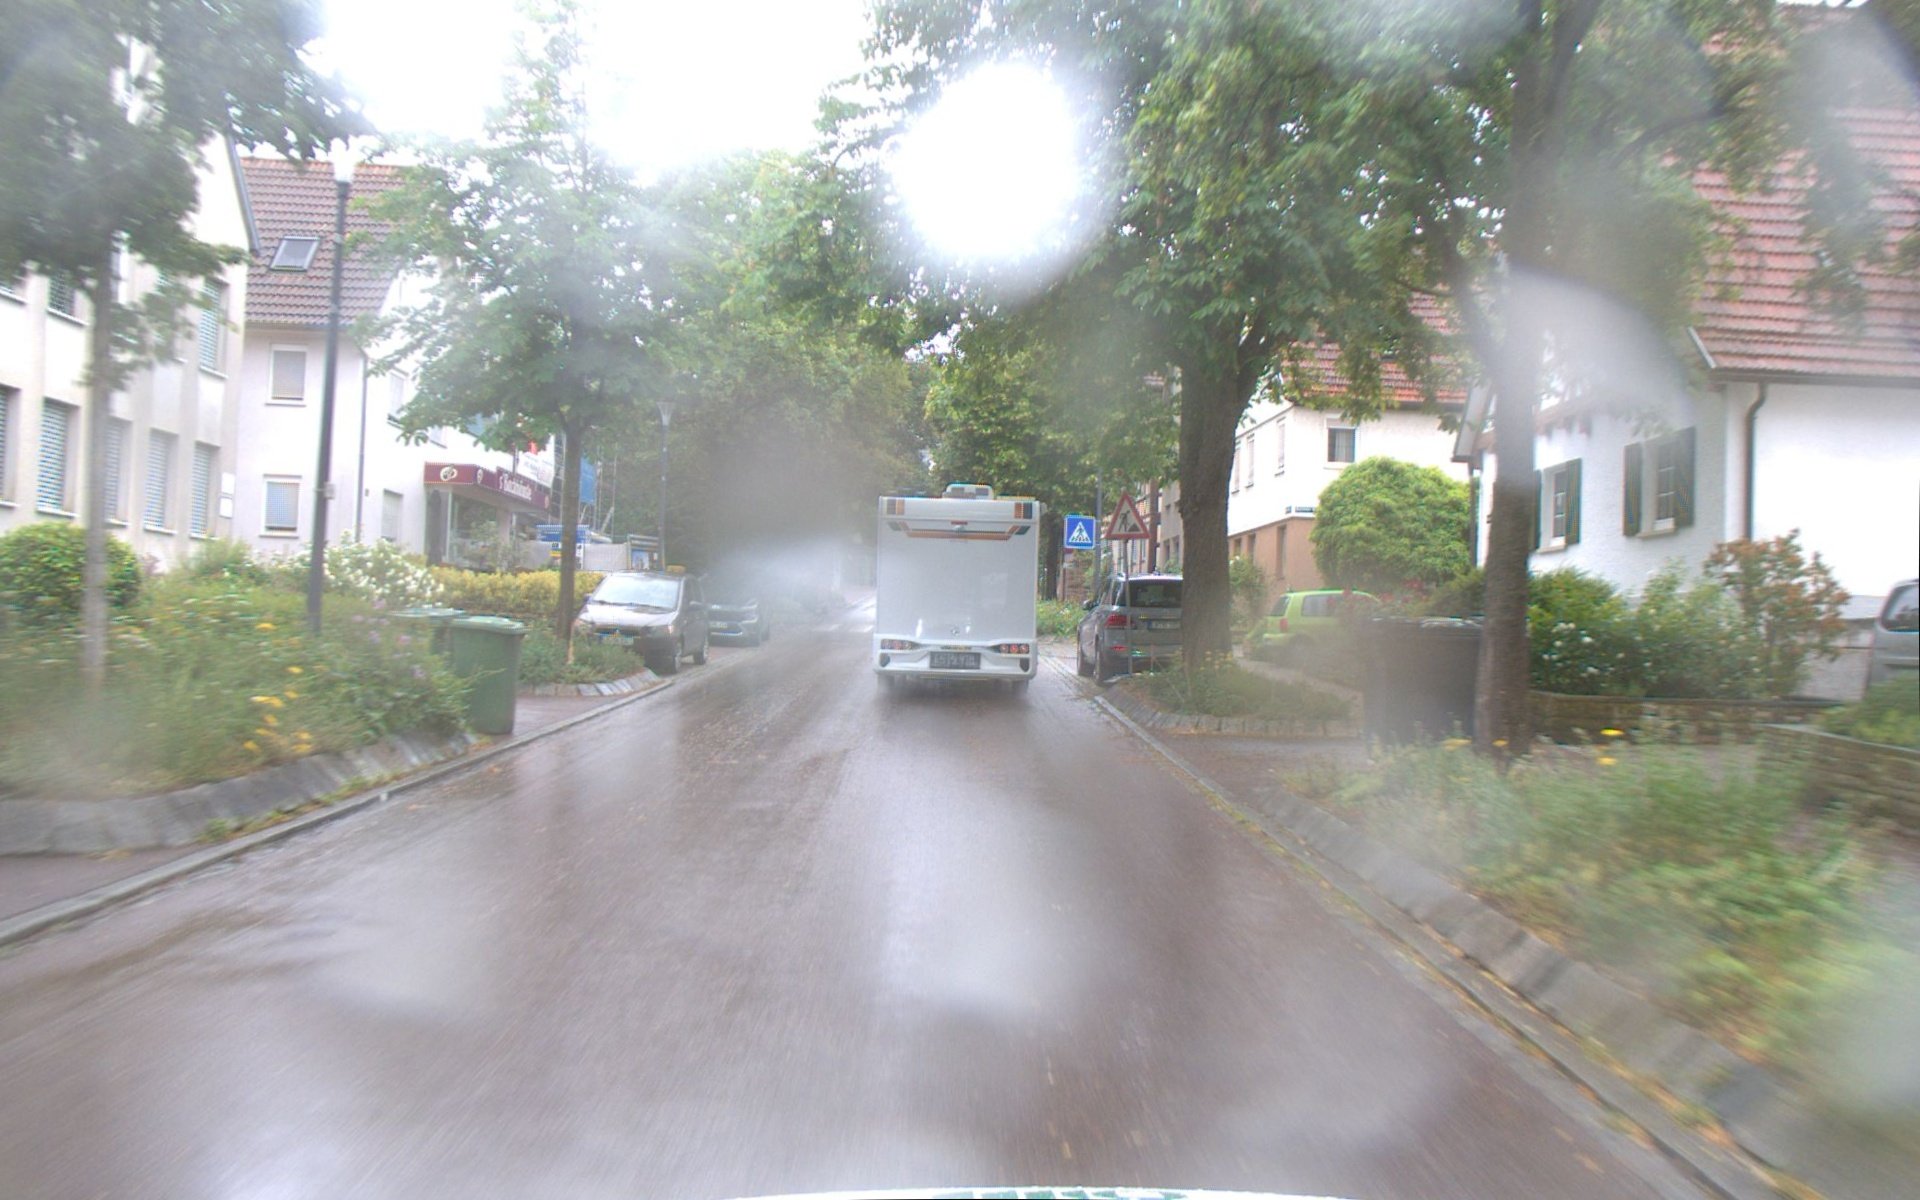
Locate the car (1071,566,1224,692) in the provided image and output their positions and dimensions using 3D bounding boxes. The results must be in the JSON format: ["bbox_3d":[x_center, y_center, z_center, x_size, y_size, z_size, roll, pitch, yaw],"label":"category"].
[{"bbox_3d":[2.965,0.426,27.080,1.875,1.823,4.488,2,0,-1],"label":"car"}]

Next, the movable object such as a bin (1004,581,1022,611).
[{"bbox_3d":[2.272,-0.176,70.559,0.706,1.234,0.727,2,0,0],"label":"movable object such as a bin"}]

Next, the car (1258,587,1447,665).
[{"bbox_3d":[7.701,0.500,32.634,3.298,1.455,1.629,1,1,-4],"label":"car"}]

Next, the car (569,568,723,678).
[{"bbox_3d":[-5.030,0.321,26.950,1.613,1.559,3.866,3,1,1],"label":"car"}]

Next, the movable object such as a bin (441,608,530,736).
[{"bbox_3d":[-4.367,0.653,15.248,0.629,1.130,0.536,2,1,1],"label":"movable object such as a bin"}]

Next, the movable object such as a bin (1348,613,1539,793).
[{"bbox_3d":[3.852,0.794,13.295,1.199,1.338,1.134,1,0,2],"label":"movable object such as a bin"}]

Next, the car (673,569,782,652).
[{"bbox_3d":[-4.980,0.182,35.914,1.736,1.580,4.000,4,1,-1],"label":"car"}]

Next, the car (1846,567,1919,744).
[{"bbox_3d":[12.634,0.832,18.402,4.373,1.932,1.999,6,0,-2],"label":"car"}]

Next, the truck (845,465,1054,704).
[{"bbox_3d":[-0.165,-0.218,24.860,2.640,3.038,6.236,2,0,-1],"label":"truck"}]

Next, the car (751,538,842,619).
[{"bbox_3d":[-5.514,-0.769,56.577,2.256,2.526,5.787,2,2,2],"label":"car"}]

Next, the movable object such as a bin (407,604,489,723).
[{"bbox_3d":[-5.052,0.619,16.345,0.598,1.130,0.564,2,1,1],"label":"movable object such as a bin"}]

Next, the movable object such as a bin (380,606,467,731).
[{"bbox_3d":[-5.063,0.634,15.631,0.598,1.130,0.564,2,1,1],"label":"movable object such as a bin"}]
